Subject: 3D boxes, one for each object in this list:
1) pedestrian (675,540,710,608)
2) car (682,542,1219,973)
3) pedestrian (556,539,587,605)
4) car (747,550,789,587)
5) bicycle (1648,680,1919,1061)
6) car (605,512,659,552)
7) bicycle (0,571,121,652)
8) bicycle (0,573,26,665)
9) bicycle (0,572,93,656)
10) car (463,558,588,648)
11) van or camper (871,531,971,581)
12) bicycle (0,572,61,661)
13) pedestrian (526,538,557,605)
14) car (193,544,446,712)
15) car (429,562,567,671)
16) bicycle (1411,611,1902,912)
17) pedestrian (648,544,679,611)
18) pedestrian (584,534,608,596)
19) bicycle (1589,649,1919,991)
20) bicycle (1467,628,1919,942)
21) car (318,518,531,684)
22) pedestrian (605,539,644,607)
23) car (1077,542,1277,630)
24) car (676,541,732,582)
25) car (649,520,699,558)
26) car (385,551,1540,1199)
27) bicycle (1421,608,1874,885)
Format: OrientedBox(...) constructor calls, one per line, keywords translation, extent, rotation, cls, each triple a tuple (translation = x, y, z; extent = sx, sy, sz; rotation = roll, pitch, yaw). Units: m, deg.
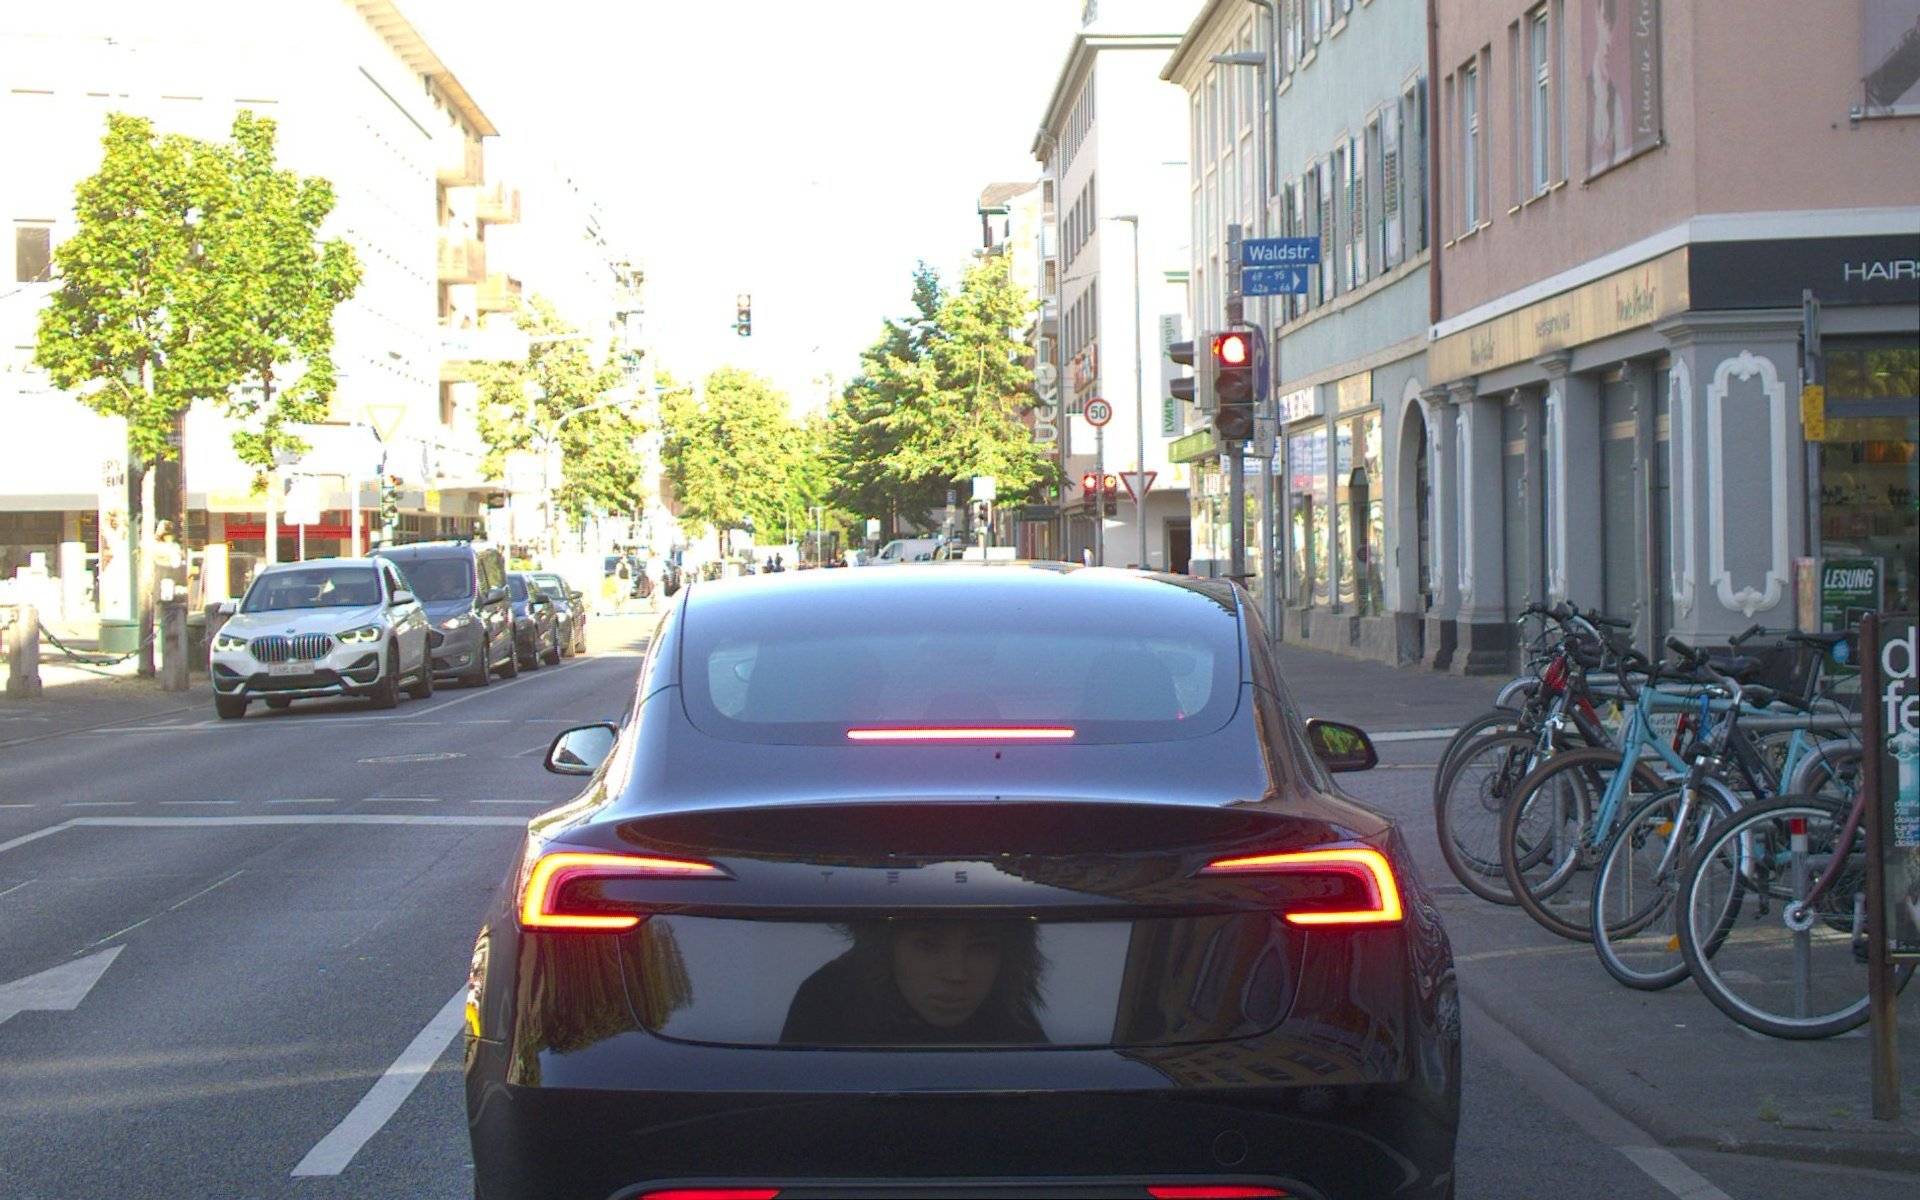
OrientedBox(translation=(-7.436, -0.731, 95.608), extent=(0.774, 1.861, 1.009), rotation=(1, 0, -14), cls="pedestrian")
OrientedBox(translation=(-0.059, 0.528, 14.200), extent=(1.850, 1.476, 4.452), rotation=(1, 1, -1), cls="car")
OrientedBox(translation=(-10.979, -0.796, 97.177), extent=(0.732, 1.861, 0.791), rotation=(1, 0, -17), cls="pedestrian")
OrientedBox(translation=(-10.444, -1.736, 187.135), extent=(2.132, 1.963, 4.134), rotation=(0, 1, -1), cls="car")
OrientedBox(translation=(3.026, 0.763, 10.052), extent=(1.882, 1.040, 0.653), rotation=(-1, 1, 1), cls="bicycle")
OrientedBox(translation=(-17.127, -3.530, 179.643), extent=(2.275, 2.007, 4.717), rotation=(1, 1, 1), cls="car")
OrientedBox(translation=(-14.695, 0.169, 54.566), extent=(2.542, 1.247, 0.943), rotation=(1, 0, -3), cls="bicycle")
OrientedBox(translation=(-14.487, 0.241, 47.547), extent=(2.875, 1.266, 0.943), rotation=(1, 0, -3), cls="bicycle")
OrientedBox(translation=(-14.534, 0.196, 52.141), extent=(2.542, 1.247, 0.943), rotation=(1, 0, -3), cls="bicycle")
OrientedBox(translation=(-7.130, 0.026, 56.748), extent=(1.693, 1.385, 3.916), rotation=(-2, 0, -2), cls="car")
OrientedBox(translation=(-1.902, -2.129, 167.550), extent=(4.850, 2.430, 1.851), rotation=(0, 1, -1), cls="van or camper")
OrientedBox(translation=(-14.489, 0.223, 49.866), extent=(2.662, 1.255, 0.943), rotation=(1, 0, -3), cls="bicycle")
OrientedBox(translation=(-11.797, -0.805, 96.958), extent=(0.732, 1.861, 0.791), rotation=(1, 0, -17), cls="pedestrian")
OrientedBox(translation=(-6.687, 0.260, 36.341), extent=(1.825, 1.559, 4.301), rotation=(-4, 1, -1), cls="car")
OrientedBox(translation=(-6.654, 0.210, 49.798), extent=(1.461, 1.425, 3.606), rotation=(-4, 1, -1), cls="car")
OrientedBox(translation=(2.731, 0.624, 13.603), extent=(1.813, 1.148, 0.653), rotation=(0, 1, 1), cls="bicycle")
OrientedBox(translation=(-8.250, -0.625, 95.718), extent=(0.694, 1.861, 0.910), rotation=(1, 0, -14), cls="pedestrian")
OrientedBox(translation=(-10.997, -1.068, 103.880), extent=(0.695, 1.861, 0.659), rotation=(1, 0, -5), cls="pedestrian")
OrientedBox(translation=(3.000, 0.696, 11.123), extent=(1.813, 1.056, 0.653), rotation=(0, 1, 1), cls="bicycle")
OrientedBox(translation=(2.800, 0.660, 12.530), extent=(1.813, 1.098, 0.653), rotation=(0, 1, 1), cls="bicycle")
OrientedBox(translation=(-6.573, -0.030, 42.664), extent=(1.945, 1.940, 4.820), rotation=(0, 1, -1), cls="car")
OrientedBox(translation=(-9.245, -0.747, 94.726), extent=(0.734, 1.861, 0.789), rotation=(1, 0, 28), cls="pedestrian")
OrientedBox(translation=(4.708, -0.320, 74.677), extent=(3.992, 1.861, 1.698), rotation=(0, 1, -21), cls="car")
OrientedBox(translation=(-12.396, -1.865, 166.452), extent=(2.414, 1.963, 4.678), rotation=(0, 1, -1), cls="car")
OrientedBox(translation=(-15.651, -3.350, 188.282), extent=(2.275, 2.007, 4.717), rotation=(1, 1, 1), cls="car")
OrientedBox(translation=(-0.023, 0.632, 7.775), extent=(1.850, 1.442, 4.452), rotation=(1, 1, -1), cls="car")
OrientedBox(translation=(2.923, 0.616, 14.738), extent=(1.813, 1.148, 0.653), rotation=(0, 1, 1), cls="bicycle")
